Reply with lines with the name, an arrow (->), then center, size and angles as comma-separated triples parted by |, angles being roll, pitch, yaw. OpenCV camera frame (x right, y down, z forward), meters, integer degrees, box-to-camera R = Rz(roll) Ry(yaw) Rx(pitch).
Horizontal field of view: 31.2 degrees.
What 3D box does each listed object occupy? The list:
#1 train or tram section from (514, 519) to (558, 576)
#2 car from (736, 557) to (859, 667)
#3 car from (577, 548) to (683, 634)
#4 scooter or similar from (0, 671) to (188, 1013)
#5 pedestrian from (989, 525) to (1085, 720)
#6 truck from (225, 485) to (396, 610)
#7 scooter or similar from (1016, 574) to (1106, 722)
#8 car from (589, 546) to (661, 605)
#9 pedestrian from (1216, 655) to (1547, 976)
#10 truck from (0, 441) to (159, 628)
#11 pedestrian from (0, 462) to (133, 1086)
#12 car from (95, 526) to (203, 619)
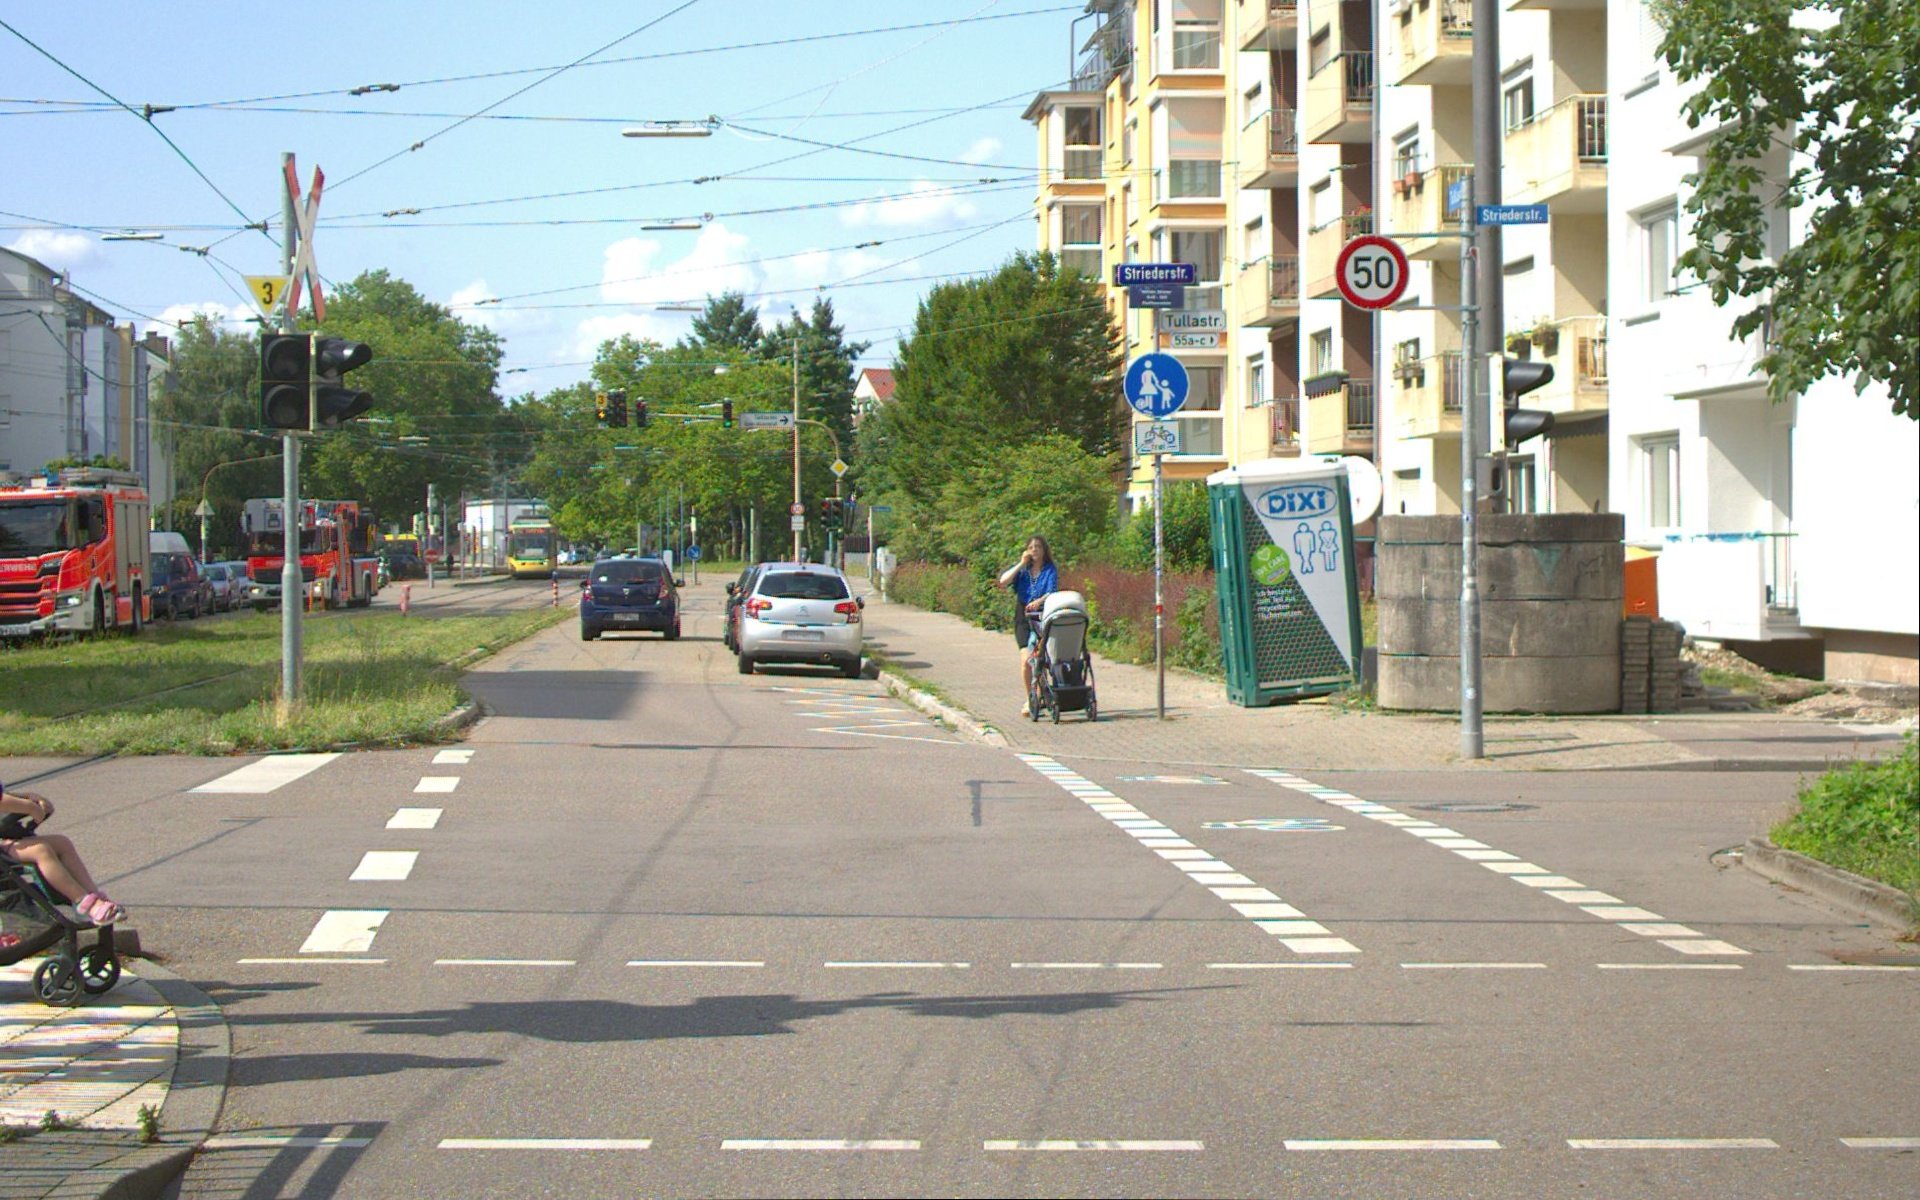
train or tram section -> -23.435, -2.925, 190.247 | 2.258, 3.058, 8.135 | -1, 1, -6
car -> -2.289, 0.151, 48.271 | 1.622, 1.460, 3.511 | 1, 0, -3
car -> -6.084, -0.169, 63.699 | 1.743, 1.502, 4.000 | 1, 0, -3
scooter or similar -> -3.129, 0.767, 11.172 | 1.100, 1.052, 0.650 | 1, 0, -3
pedestrian -> 0.722, 0.208, 32.621 | 0.701, 1.783, 1.030 | -3, 1, -5
truck -> -19.057, -1.499, 101.514 | 2.667, 3.459, 10.167 | 1, 0, 2
scooter or similar -> 0.930, 0.436, 31.730 | 0.662, 1.299, 0.868 | -4, 1, -5
car -> -8.990, -0.666, 92.481 | 1.743, 1.502, 4.001 | 1, 0, -4
pedestrian -> 2.967, 1.472, 25.008 | 1.993, 2.007, 4.000 | 1, 0, 2
truck -> -16.492, -1.159, 62.697 | 2.596, 3.175, 8.384 | 1, 0, -6
pedestrian -> -2.859, 0.465, 9.415 | 0.798, 1.662, 0.846 | 0, 0, 45
car -> -21.594, -0.735, 91.683 | 1.967, 2.362, 5.202 | 1, 0, -4
